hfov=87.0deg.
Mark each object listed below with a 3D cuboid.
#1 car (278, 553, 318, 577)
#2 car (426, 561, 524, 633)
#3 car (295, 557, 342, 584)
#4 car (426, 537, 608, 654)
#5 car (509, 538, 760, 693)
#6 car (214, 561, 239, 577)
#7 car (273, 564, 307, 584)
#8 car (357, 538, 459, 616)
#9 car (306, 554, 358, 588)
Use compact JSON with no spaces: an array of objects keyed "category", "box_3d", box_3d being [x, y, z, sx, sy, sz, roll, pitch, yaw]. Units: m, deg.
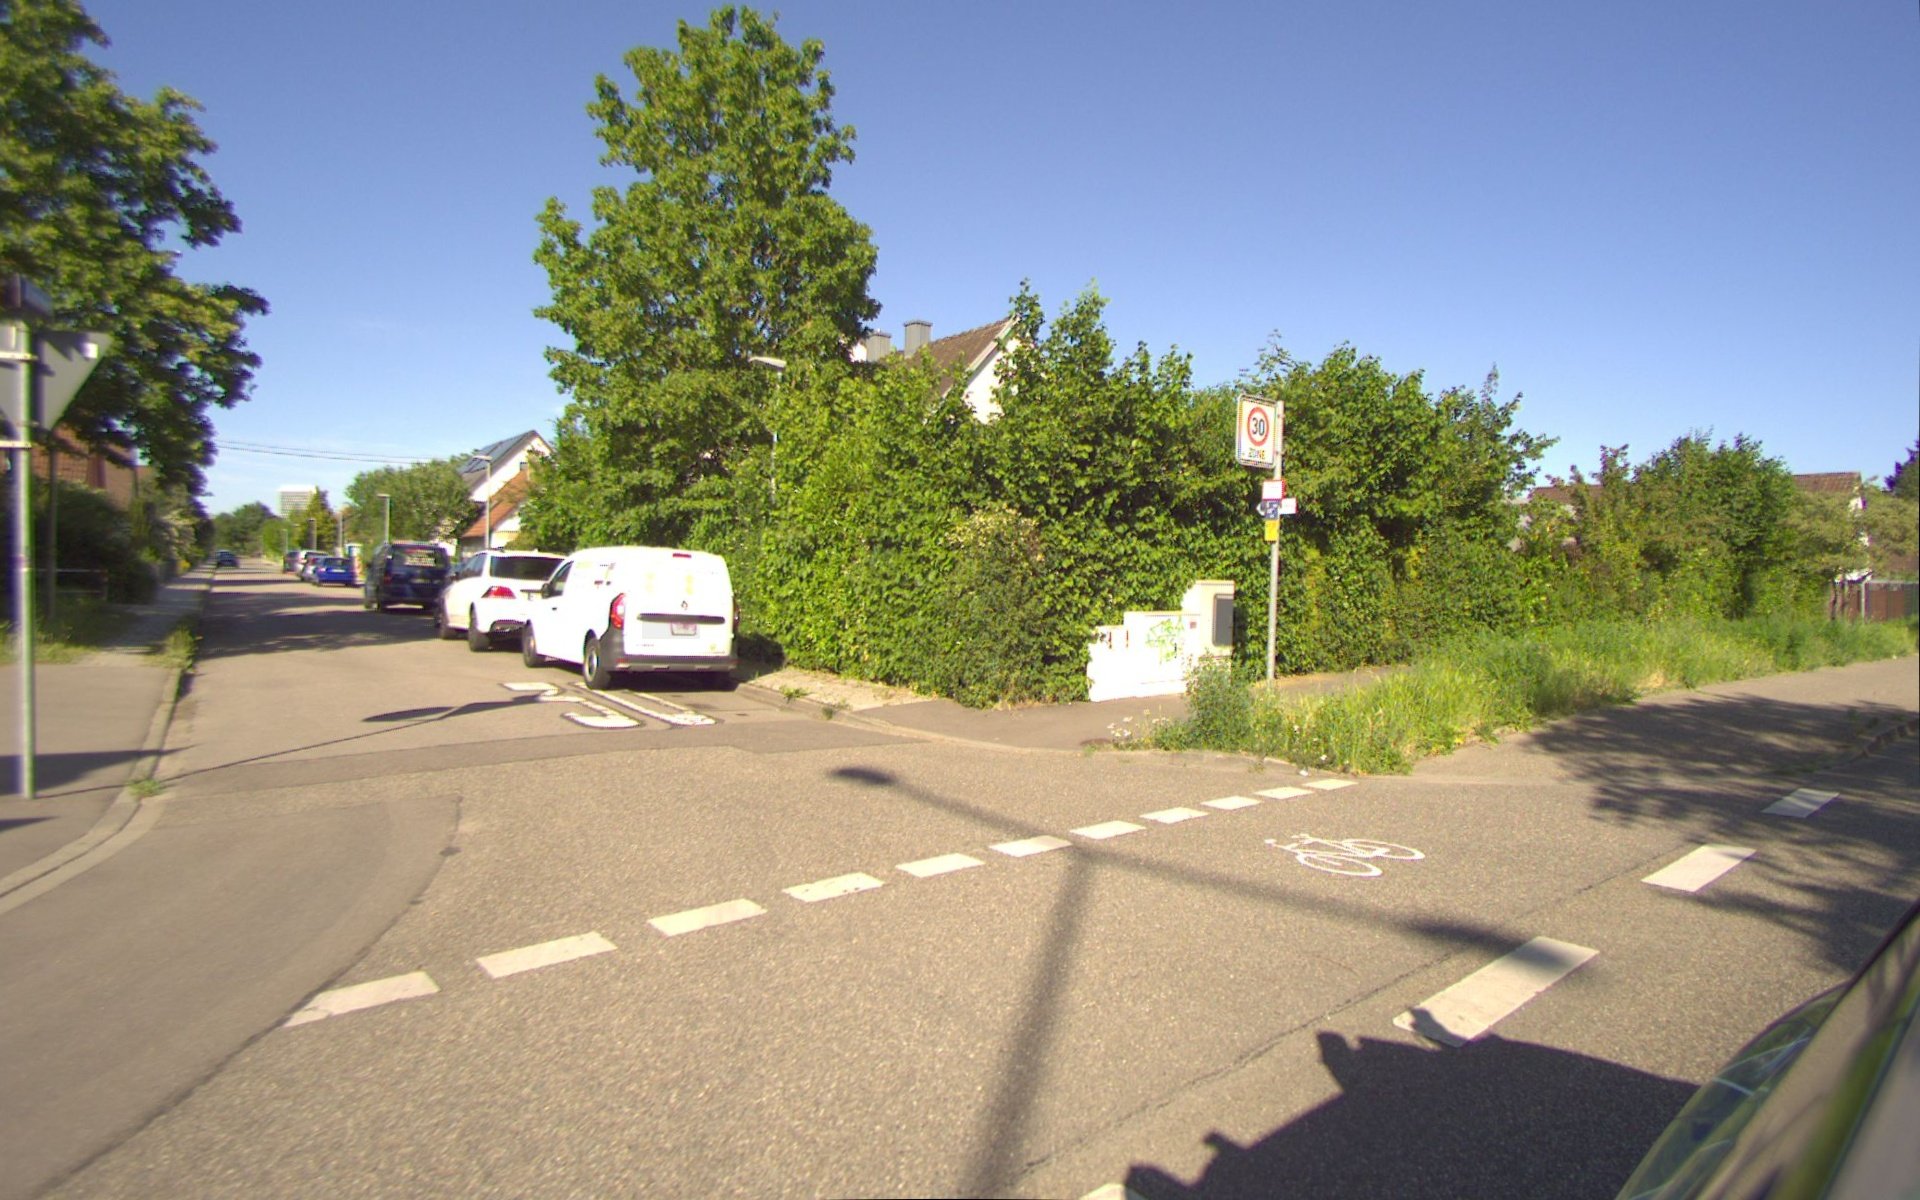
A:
[{"category":"car","box_3d":[-41.916,-2.198,64.052,1.775,1.364,3.828,3,0,-37]},{"category":"car","box_3d":[-10.969,-0.088,22.834,1.511,1.508,2.353,3,0,-37]},{"category":"car","box_3d":[-34.571,-1.592,54.491,1.775,1.364,3.828,3,0,-37]},{"category":"car","box_3d":[-8.360,-0.105,18.852,2.033,1.892,4.531,3,0,-37]},{"category":"car","box_3d":[-4.762,0.142,14.322,1.896,1.824,4.644,3,0,-37]},{"category":"car","box_3d":[-69.267,-2.941,95.558,1.775,1.364,3.828,3,0,-37]},{"category":"car","box_3d":[-49.704,-1.972,75.040,1.775,1.364,3.828,3,0,-37]},{"category":"car","box_3d":[-16.383,-0.692,29.910,1.950,2.071,4.391,3,0,-37]},{"category":"car","box_3d":[-30.935,-1.463,49.785,1.775,1.413,3.830,3,2,-37]}]
